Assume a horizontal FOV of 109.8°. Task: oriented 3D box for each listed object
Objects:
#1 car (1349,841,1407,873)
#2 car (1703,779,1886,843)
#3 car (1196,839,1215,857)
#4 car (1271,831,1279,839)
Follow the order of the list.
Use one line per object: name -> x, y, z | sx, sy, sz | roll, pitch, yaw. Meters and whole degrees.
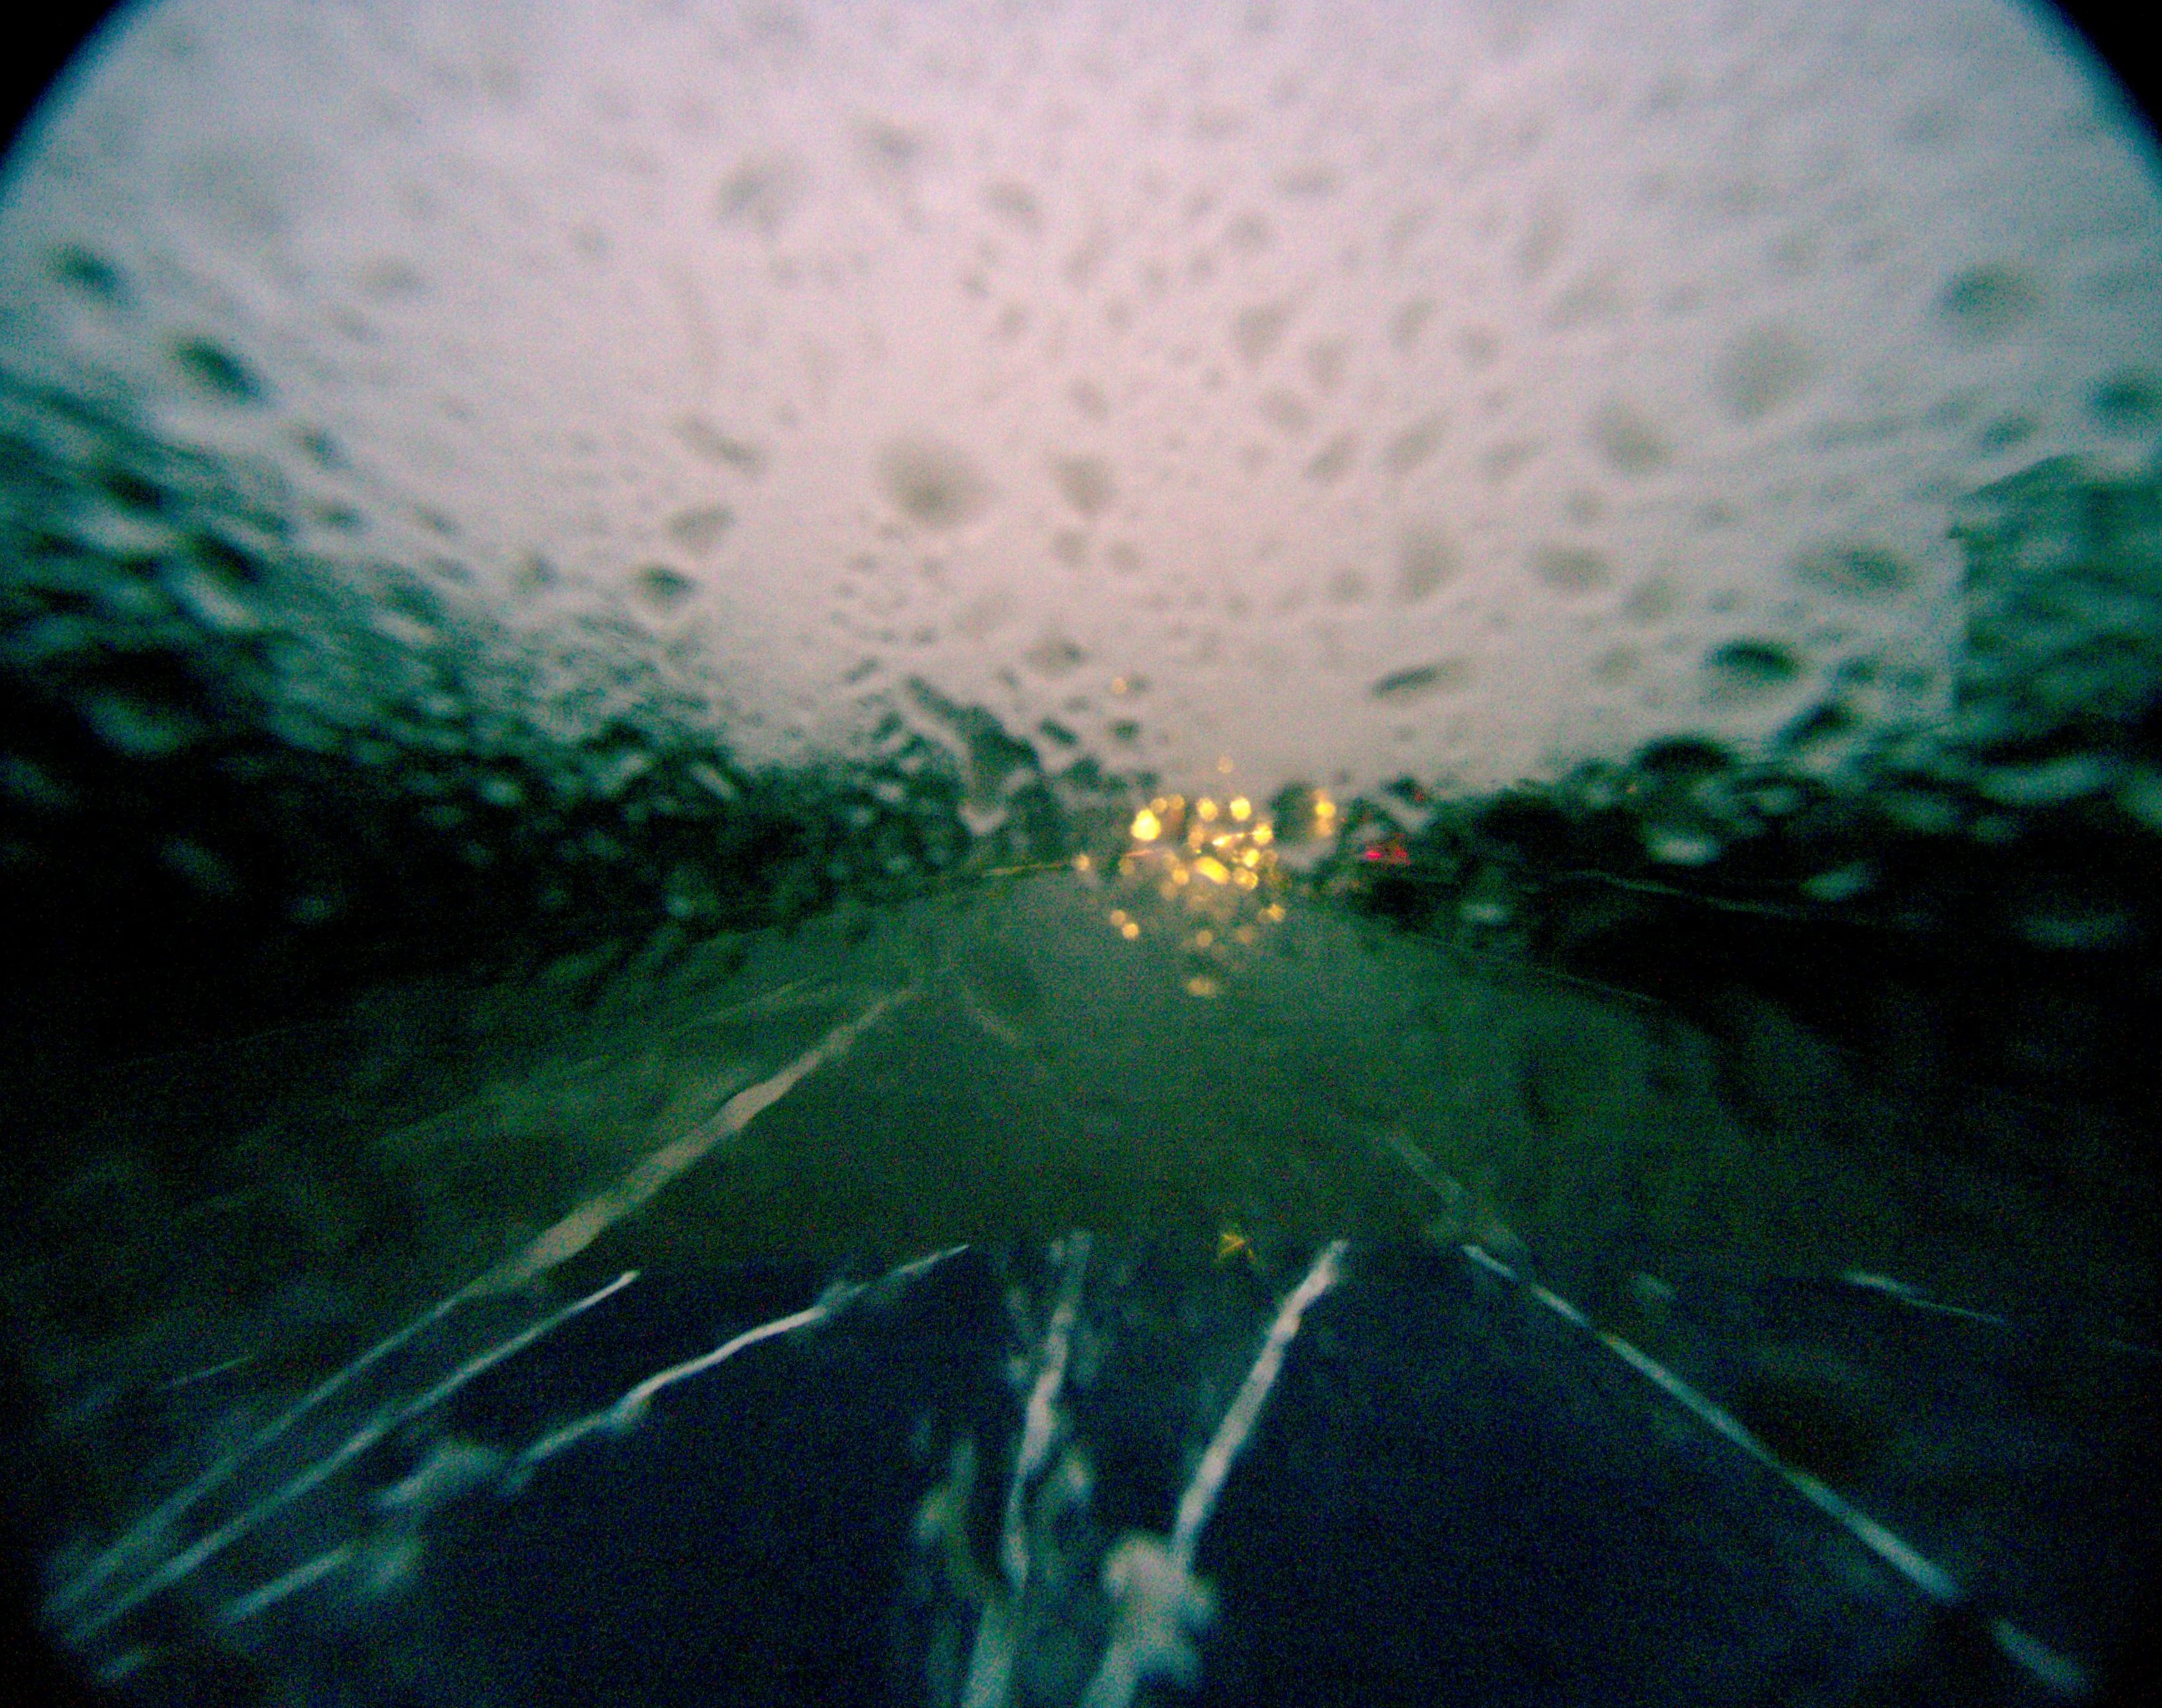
car -> 16.869, 0.124, 43.398 | 1.797, 1.674, 4.689 | -1, 1, 5
car -> 40.405, -2.254, 43.696 | 3.197, 3.192, 9.948 | -1, 1, 14
car -> 14.730, -0.734, 89.923 | 1.997, 2.002, 4.002 | -5, 1, 11
car -> 46.654, -4.527, 182.365 | 1.765, 1.617, 4.530 | -4, 1, 14
